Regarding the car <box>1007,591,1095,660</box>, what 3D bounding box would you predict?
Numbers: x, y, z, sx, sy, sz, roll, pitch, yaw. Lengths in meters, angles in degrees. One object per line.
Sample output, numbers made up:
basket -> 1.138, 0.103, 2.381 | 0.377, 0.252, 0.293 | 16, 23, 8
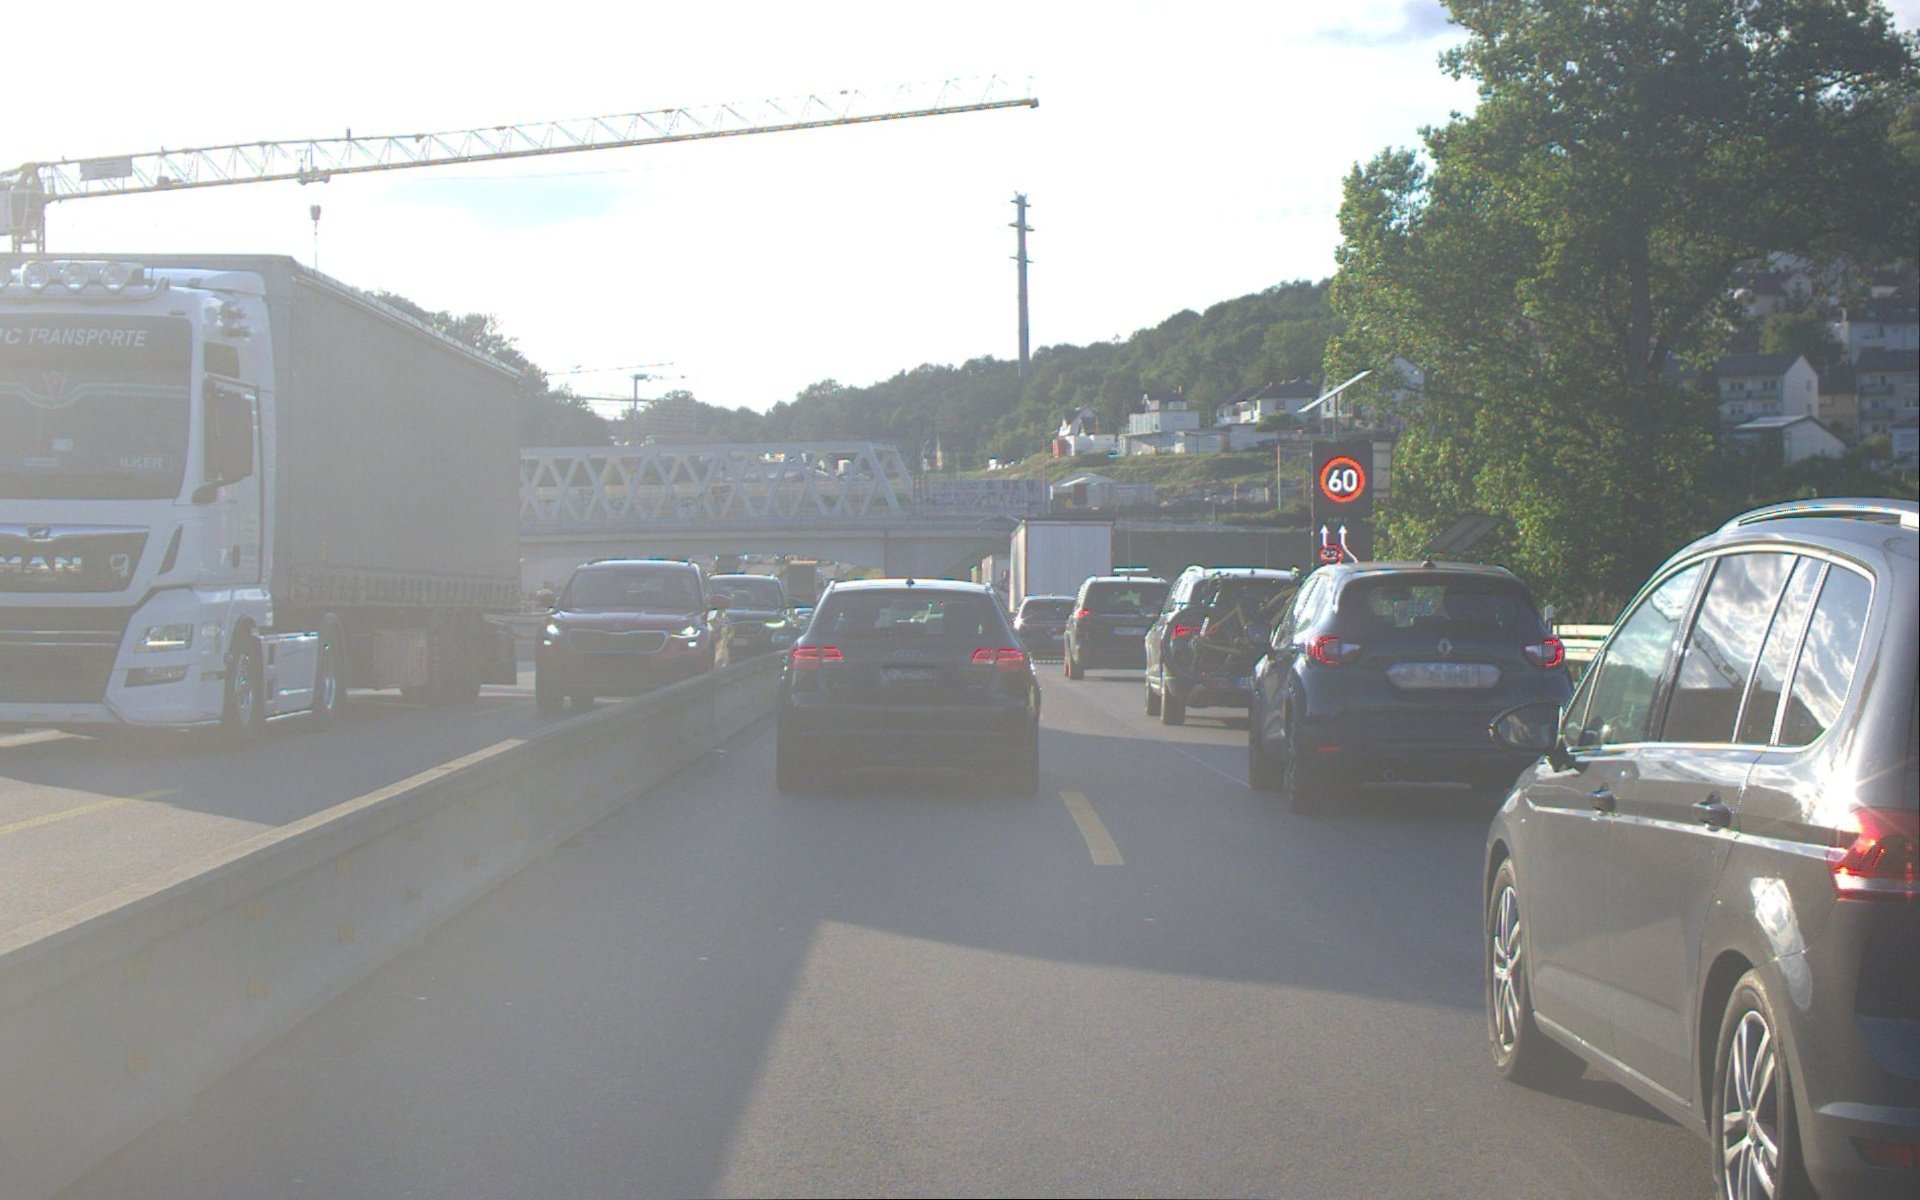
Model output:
car -> 2.126, 0.589, 81.066 | 1.770, 1.547, 4.000 | 2, 0, -2

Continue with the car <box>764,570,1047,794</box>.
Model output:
car -> -0.417, 0.524, 23.716 | 1.770, 1.385, 4.000 | 1, 0, -2

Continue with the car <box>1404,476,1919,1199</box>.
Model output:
car -> 2.372, 0.623, 8.432 | 1.812, 1.610, 4.526 | 2, 0, -1

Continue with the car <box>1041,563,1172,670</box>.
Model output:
car -> 2.318, 0.263, 55.363 | 1.814, 1.627, 4.411 | 1, 0, -1

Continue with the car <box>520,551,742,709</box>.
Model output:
car -> -3.529, 0.303, 37.654 | 1.993, 1.614, 4.605 | 0, 0, 0

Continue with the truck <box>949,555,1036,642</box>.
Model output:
truck -> 1.688, -0.176, 187.477 | 3.890, 4.483, 13.849 | 1, 1, -3

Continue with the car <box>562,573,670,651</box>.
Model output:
car -> -6.575, 0.215, 66.081 | 1.701, 1.441, 4.000 | 0, 0, 0

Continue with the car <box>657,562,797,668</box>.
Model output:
car -> -3.800, 0.237, 56.821 | 1.993, 1.639, 4.512 | 1, 0, 0

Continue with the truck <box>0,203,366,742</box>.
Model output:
truck -> -6.867, -0.960, 28.565 | 2.814, 4.035, 5.672 | 0, 0, 1

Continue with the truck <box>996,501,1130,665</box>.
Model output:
truck -> 2.982, -0.455, 104.781 | 3.385, 4.483, 15.266 | 3, 0, 0

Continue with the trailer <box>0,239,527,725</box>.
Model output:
trailer -> -6.811, -1.004, 35.577 | 2.814, 4.037, 14.021 | 0, 0, 0

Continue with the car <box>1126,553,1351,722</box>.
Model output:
car -> 2.753, 0.377, 35.013 | 1.875, 1.594, 4.965 | 0, -1, 0

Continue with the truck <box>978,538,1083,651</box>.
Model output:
truck -> 2.866, -0.310, 145.764 | 3.890, 4.483, 15.267 | 1, 1, -1

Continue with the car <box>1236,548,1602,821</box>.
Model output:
car -> 2.868, 0.490, 22.316 | 1.774, 1.580, 4.135 | 1, 0, 0
